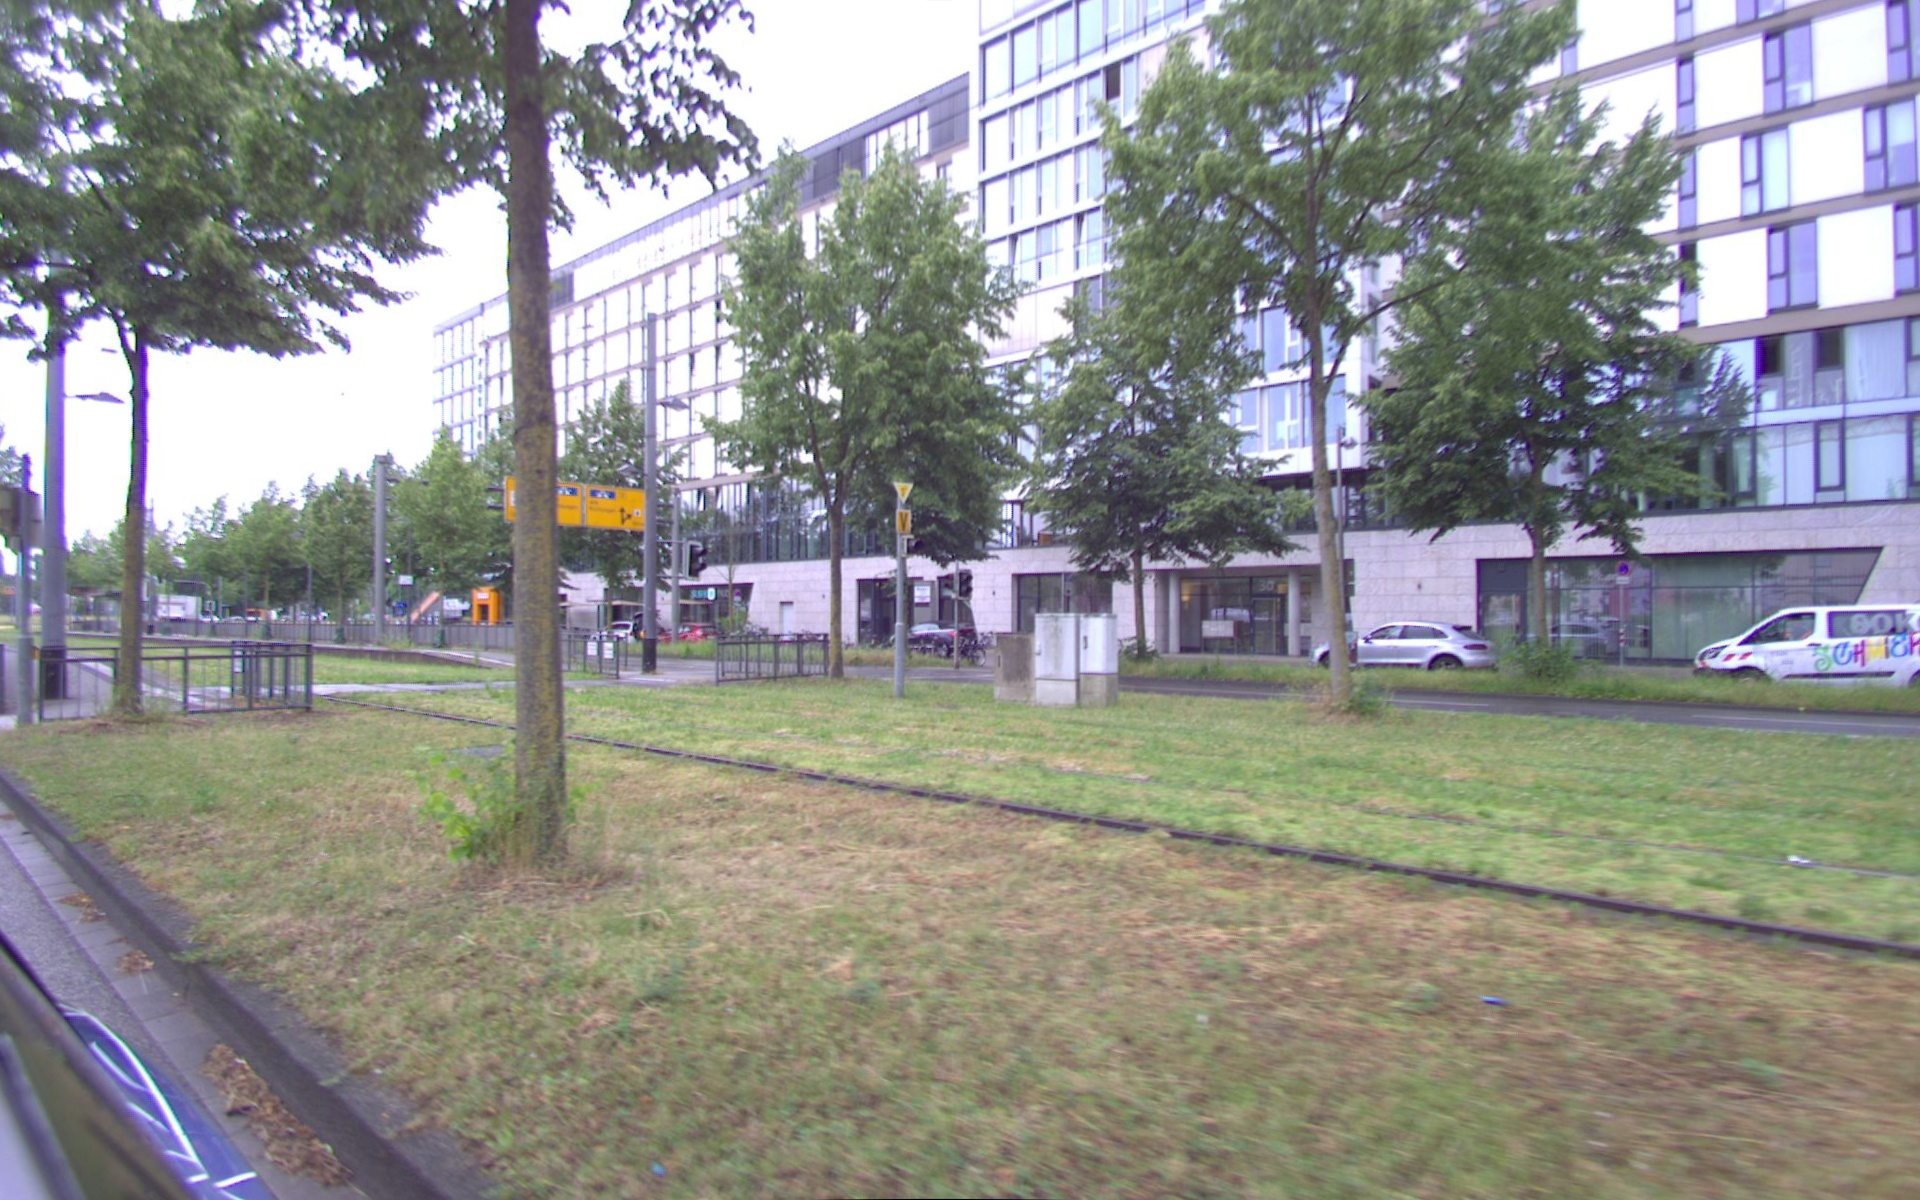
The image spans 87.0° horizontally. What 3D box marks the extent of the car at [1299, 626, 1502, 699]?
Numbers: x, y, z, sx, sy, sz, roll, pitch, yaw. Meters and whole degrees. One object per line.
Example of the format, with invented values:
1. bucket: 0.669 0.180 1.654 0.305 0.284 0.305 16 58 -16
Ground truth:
1. car: 11.479 1.547 26.520 4.461 1.725 2.122 -1 -1 41

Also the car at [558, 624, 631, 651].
1. car: -19.137 1.947 52.859 4.070 1.298 1.972 -1 -1 43

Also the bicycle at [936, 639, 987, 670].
1. bicycle: 0.051 1.950 36.409 0.696 1.042 1.957 -1 -1 42

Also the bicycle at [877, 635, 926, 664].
1. bicycle: -2.225 1.874 38.859 0.696 1.042 1.957 0 -1 42

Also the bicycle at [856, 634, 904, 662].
1. bicycle: -3.141 1.867 39.812 0.696 1.042 1.957 -1 -1 42

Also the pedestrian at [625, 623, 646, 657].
1. pedestrian: -16.473 1.999 51.329 0.793 1.704 0.703 -2 -1 44

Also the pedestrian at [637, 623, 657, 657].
1. pedestrian: -16.090 2.047 52.021 0.793 1.704 0.703 -2 -1 44

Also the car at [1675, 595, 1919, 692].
1. car: 18.092 0.862 20.966 5.162 1.866 1.973 -1 -1 41

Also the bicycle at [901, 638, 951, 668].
1. bicycle: -1.256 1.954 37.563 0.696 1.042 1.957 -1 -1 42

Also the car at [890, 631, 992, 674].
1. car: -0.856 2.212 43.687 4.190 1.706 1.973 -1 -1 41
